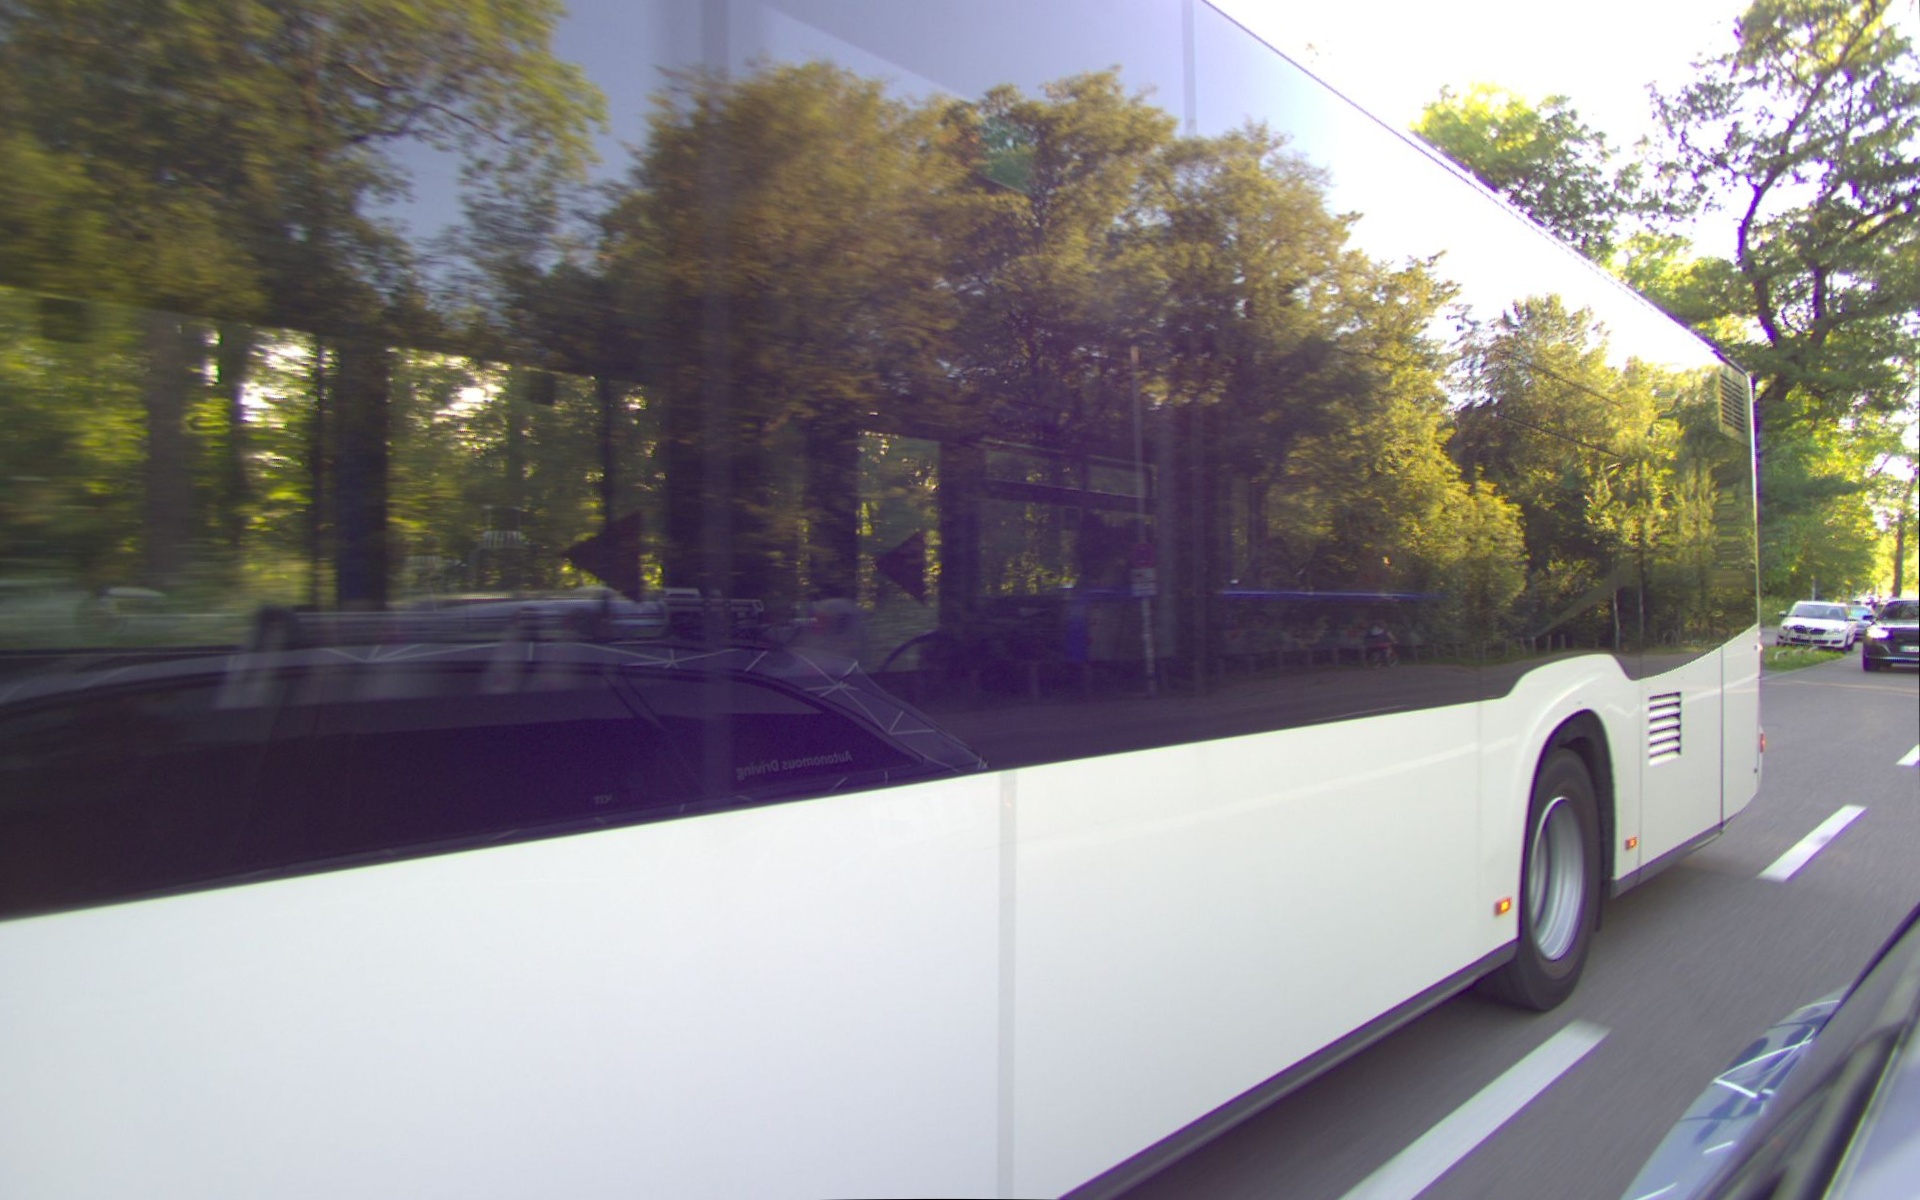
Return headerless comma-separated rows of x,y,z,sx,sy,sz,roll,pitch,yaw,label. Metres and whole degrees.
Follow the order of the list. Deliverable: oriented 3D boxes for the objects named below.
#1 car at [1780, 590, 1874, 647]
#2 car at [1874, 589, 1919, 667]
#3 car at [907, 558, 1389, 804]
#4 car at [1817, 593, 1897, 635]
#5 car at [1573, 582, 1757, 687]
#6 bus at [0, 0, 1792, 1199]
26.665,0.520,31.093,4.101,1.529,1.730,0,4,-44,car
21.642,0.582,22.384,3.934,1.638,1.858,0,0,-44,car
1.811,0.495,8.728,4.384,1.594,1.840,0,1,-43,car
35.067,0.506,39.513,4.445,1.408,1.856,0,4,-43,car
12.870,0.535,18.384,4.032,1.576,1.996,0,4,-45,car
-0.616,-0.216,2.774,12.067,3.263,2.708,0,0,-42,bus
